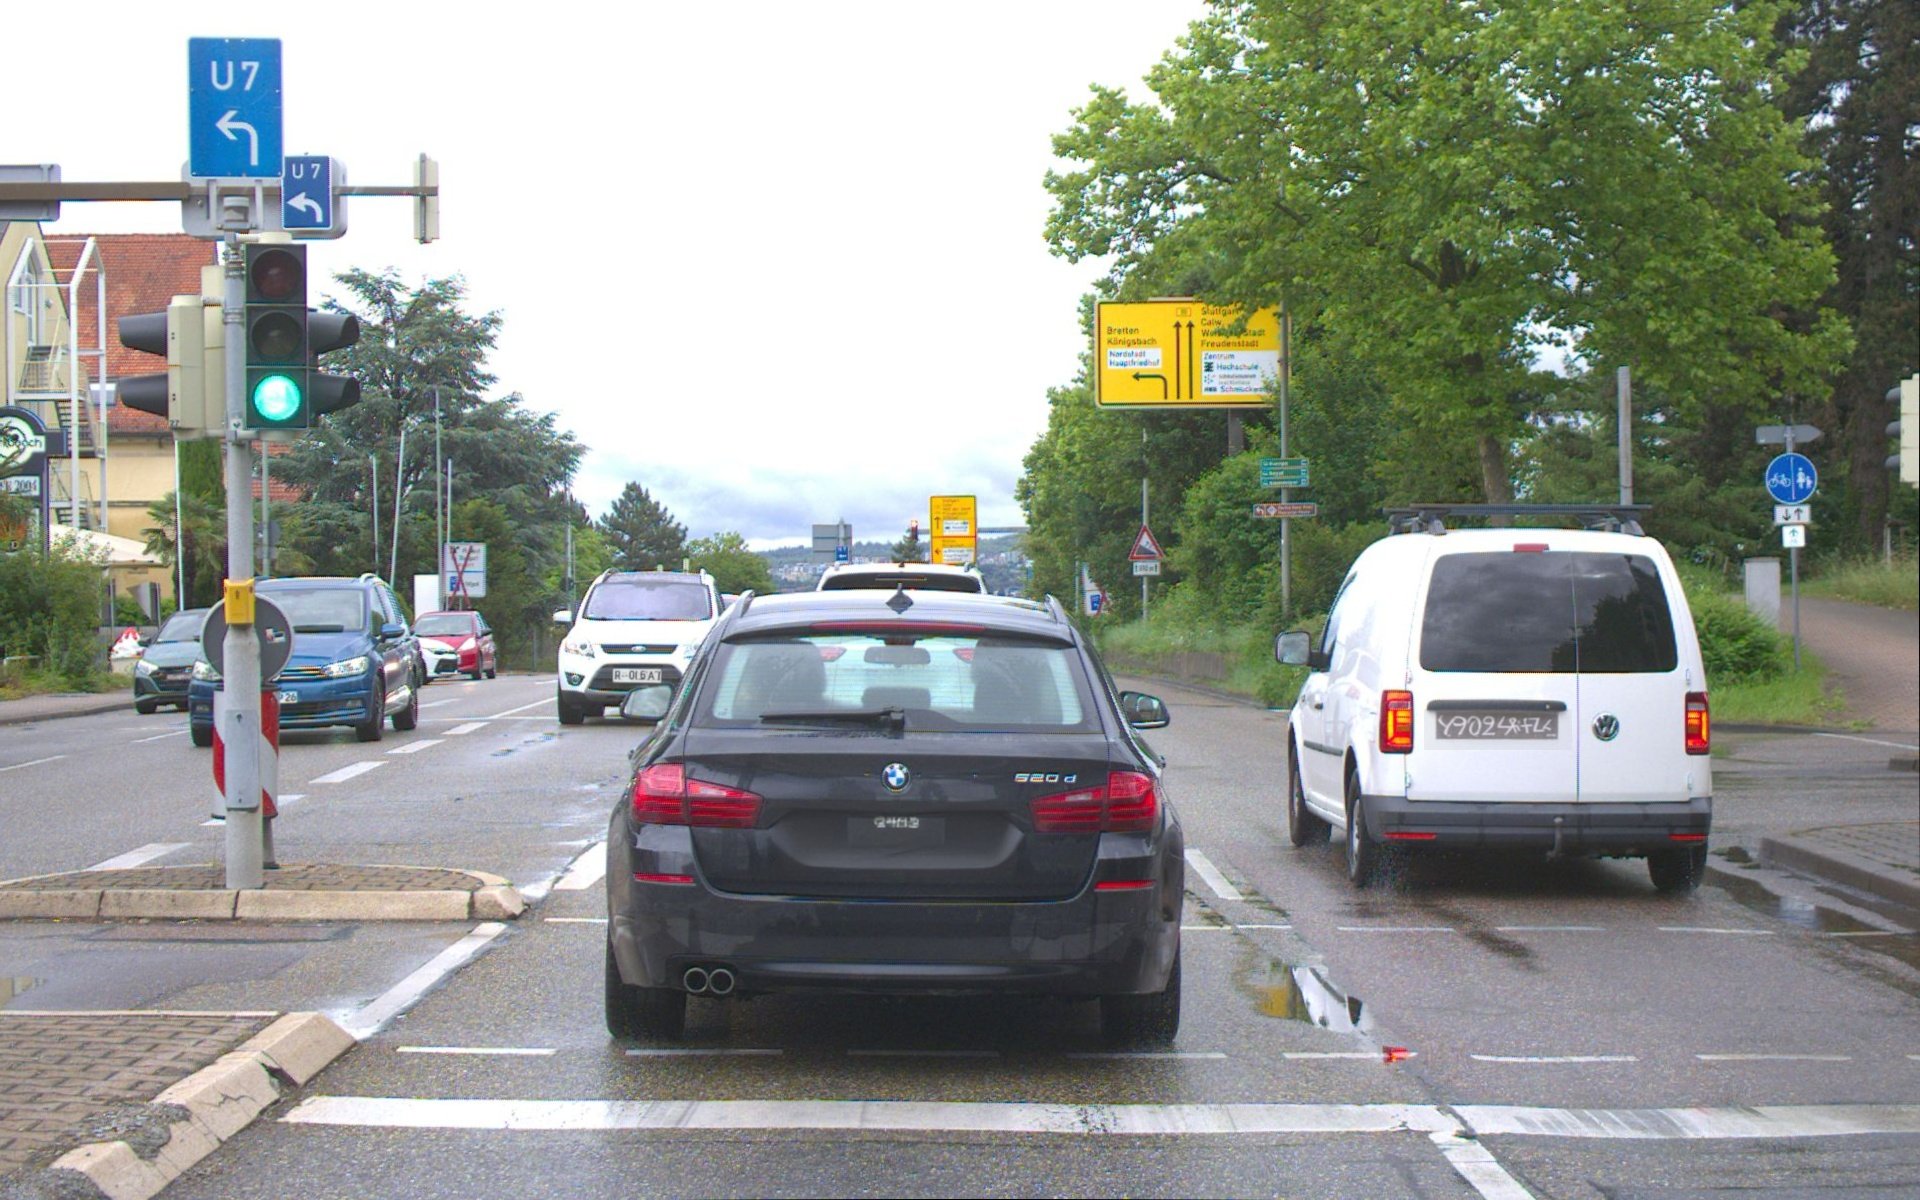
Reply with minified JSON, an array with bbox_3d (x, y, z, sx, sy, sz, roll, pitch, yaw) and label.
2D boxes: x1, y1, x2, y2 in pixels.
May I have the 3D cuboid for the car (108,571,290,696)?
[{"bbox_3d":[-10.624,0.428,48.232,1.676,1.612,4.000,-1,1,-1],"label":"car"}]

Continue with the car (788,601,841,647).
[{"bbox_3d":[-5.552,0.908,131.677,1.868,1.668,4.000,1,1,0],"label":"car"}]

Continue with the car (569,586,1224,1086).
[{"bbox_3d":[-0.198,0.698,12.043,1.899,1.437,4.000,1,0,0],"label":"car"}]

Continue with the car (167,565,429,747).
[{"bbox_3d":[-6.522,0.506,34.300,1.839,1.644,4.297,-2,1,-2],"label":"car"}]

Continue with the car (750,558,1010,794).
[{"bbox_3d":[-0.592,0.529,26.995,1.868,1.668,4.000,1,1,0],"label":"car"}]

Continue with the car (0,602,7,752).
[{"bbox_3d":[-9.749,0.758,29.668,1.917,1.375,4.125,-2,1,-1],"label":"car"}]

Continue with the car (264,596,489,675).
[{"bbox_3d":[-11.371,0.696,67.128,4.032,1.472,1.642,-1,-1,4],"label":"car"}]

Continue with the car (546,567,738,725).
[{"bbox_3d":[-3.478,0.461,38.222,1.839,1.644,4.297,0,1,-2],"label":"car"}]

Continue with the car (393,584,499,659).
[{"bbox_3d":[-11.135,0.450,74.664,1.770,1.563,4.000,0,0,-1],"label":"car"}]

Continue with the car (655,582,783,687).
[{"bbox_3d":[-3.400,0.498,49.099,1.632,1.429,4.144,0,-1,-1],"label":"car"}]

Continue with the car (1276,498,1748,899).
[{"bbox_3d":[2.777,0.432,18.113,1.764,1.871,3.805,1,1,-1],"label":"car"}]
